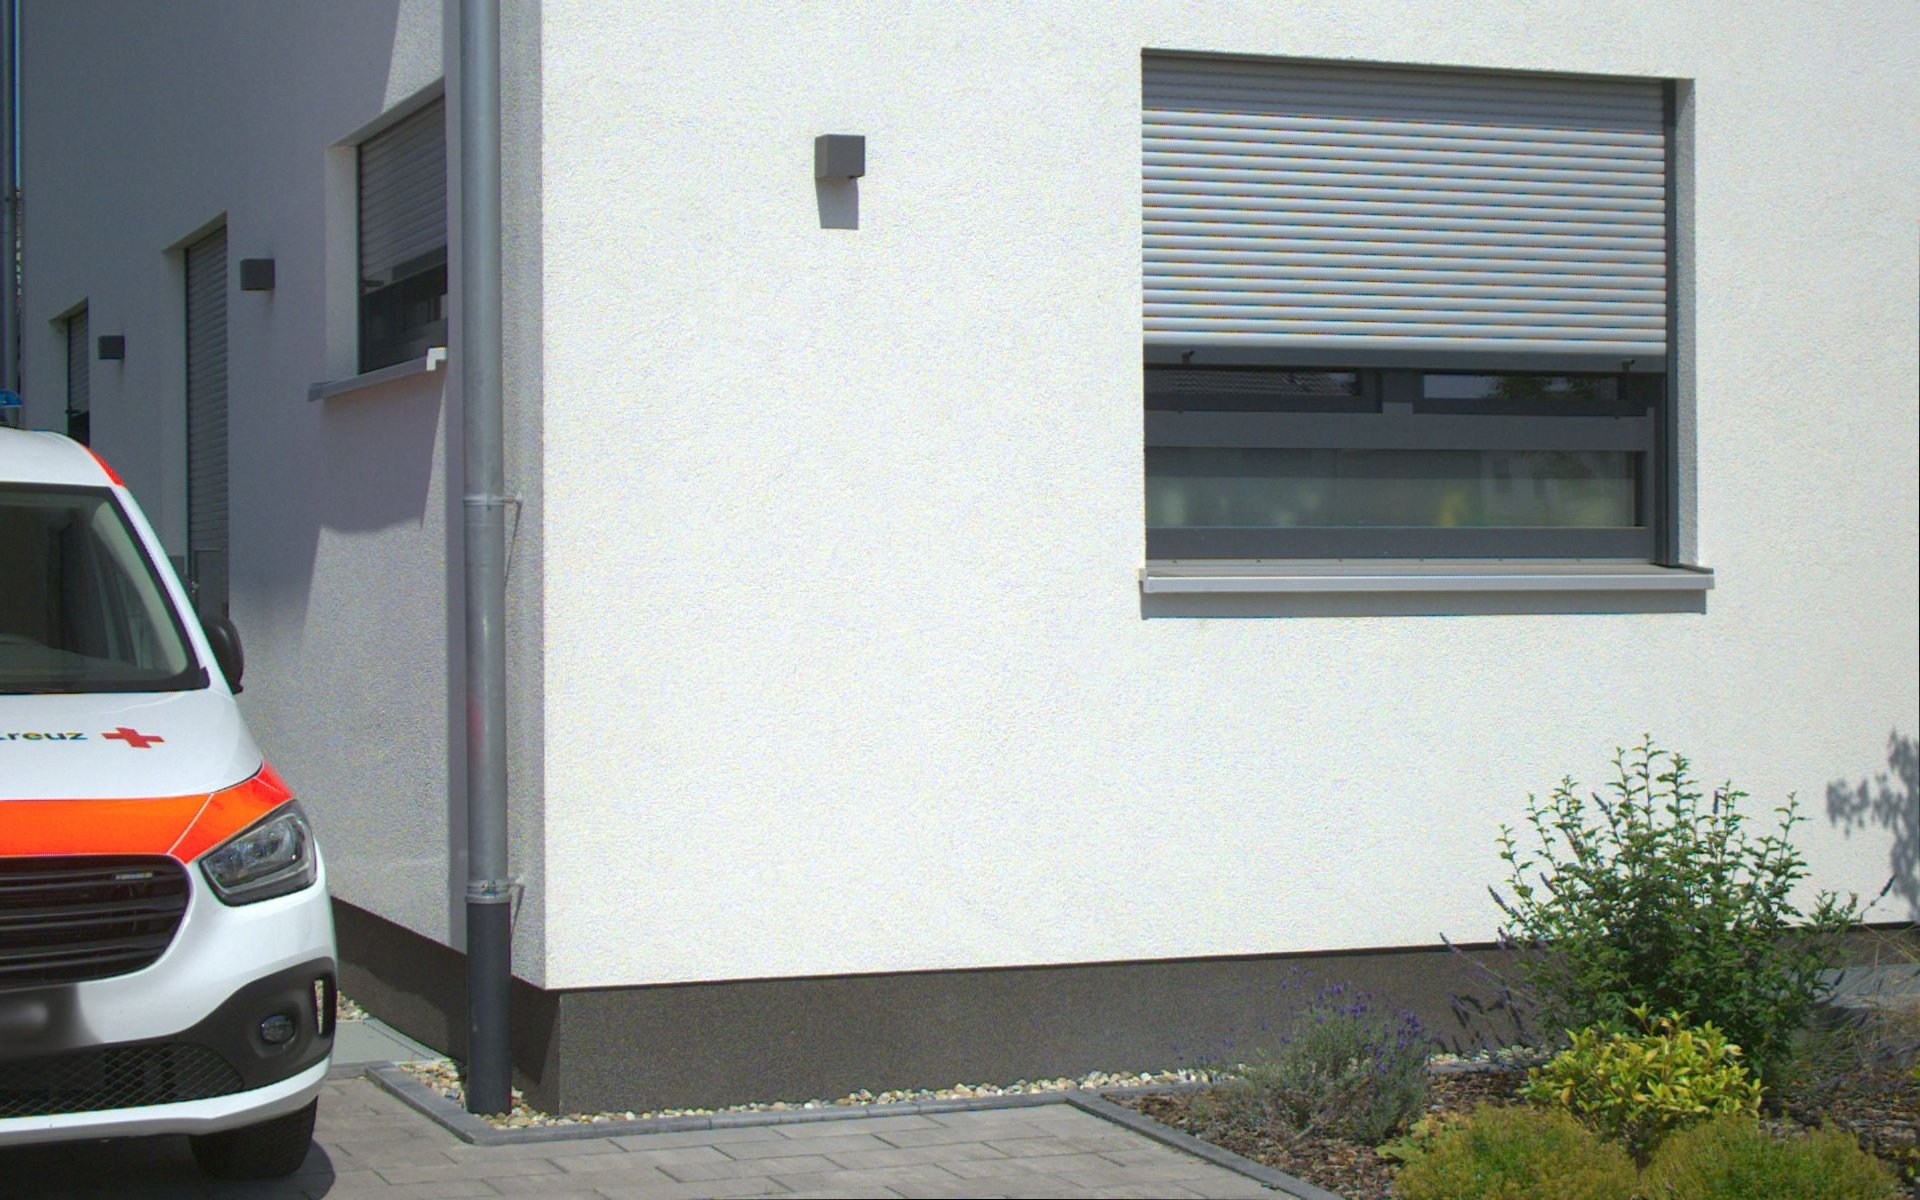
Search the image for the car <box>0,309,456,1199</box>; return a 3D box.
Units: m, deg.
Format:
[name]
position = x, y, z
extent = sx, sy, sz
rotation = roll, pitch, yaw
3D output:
[car]
position = -2.827, 0.384, 8.545
extent = 1.932, 1.868, 4.753
rotation = 0, 0, -24
